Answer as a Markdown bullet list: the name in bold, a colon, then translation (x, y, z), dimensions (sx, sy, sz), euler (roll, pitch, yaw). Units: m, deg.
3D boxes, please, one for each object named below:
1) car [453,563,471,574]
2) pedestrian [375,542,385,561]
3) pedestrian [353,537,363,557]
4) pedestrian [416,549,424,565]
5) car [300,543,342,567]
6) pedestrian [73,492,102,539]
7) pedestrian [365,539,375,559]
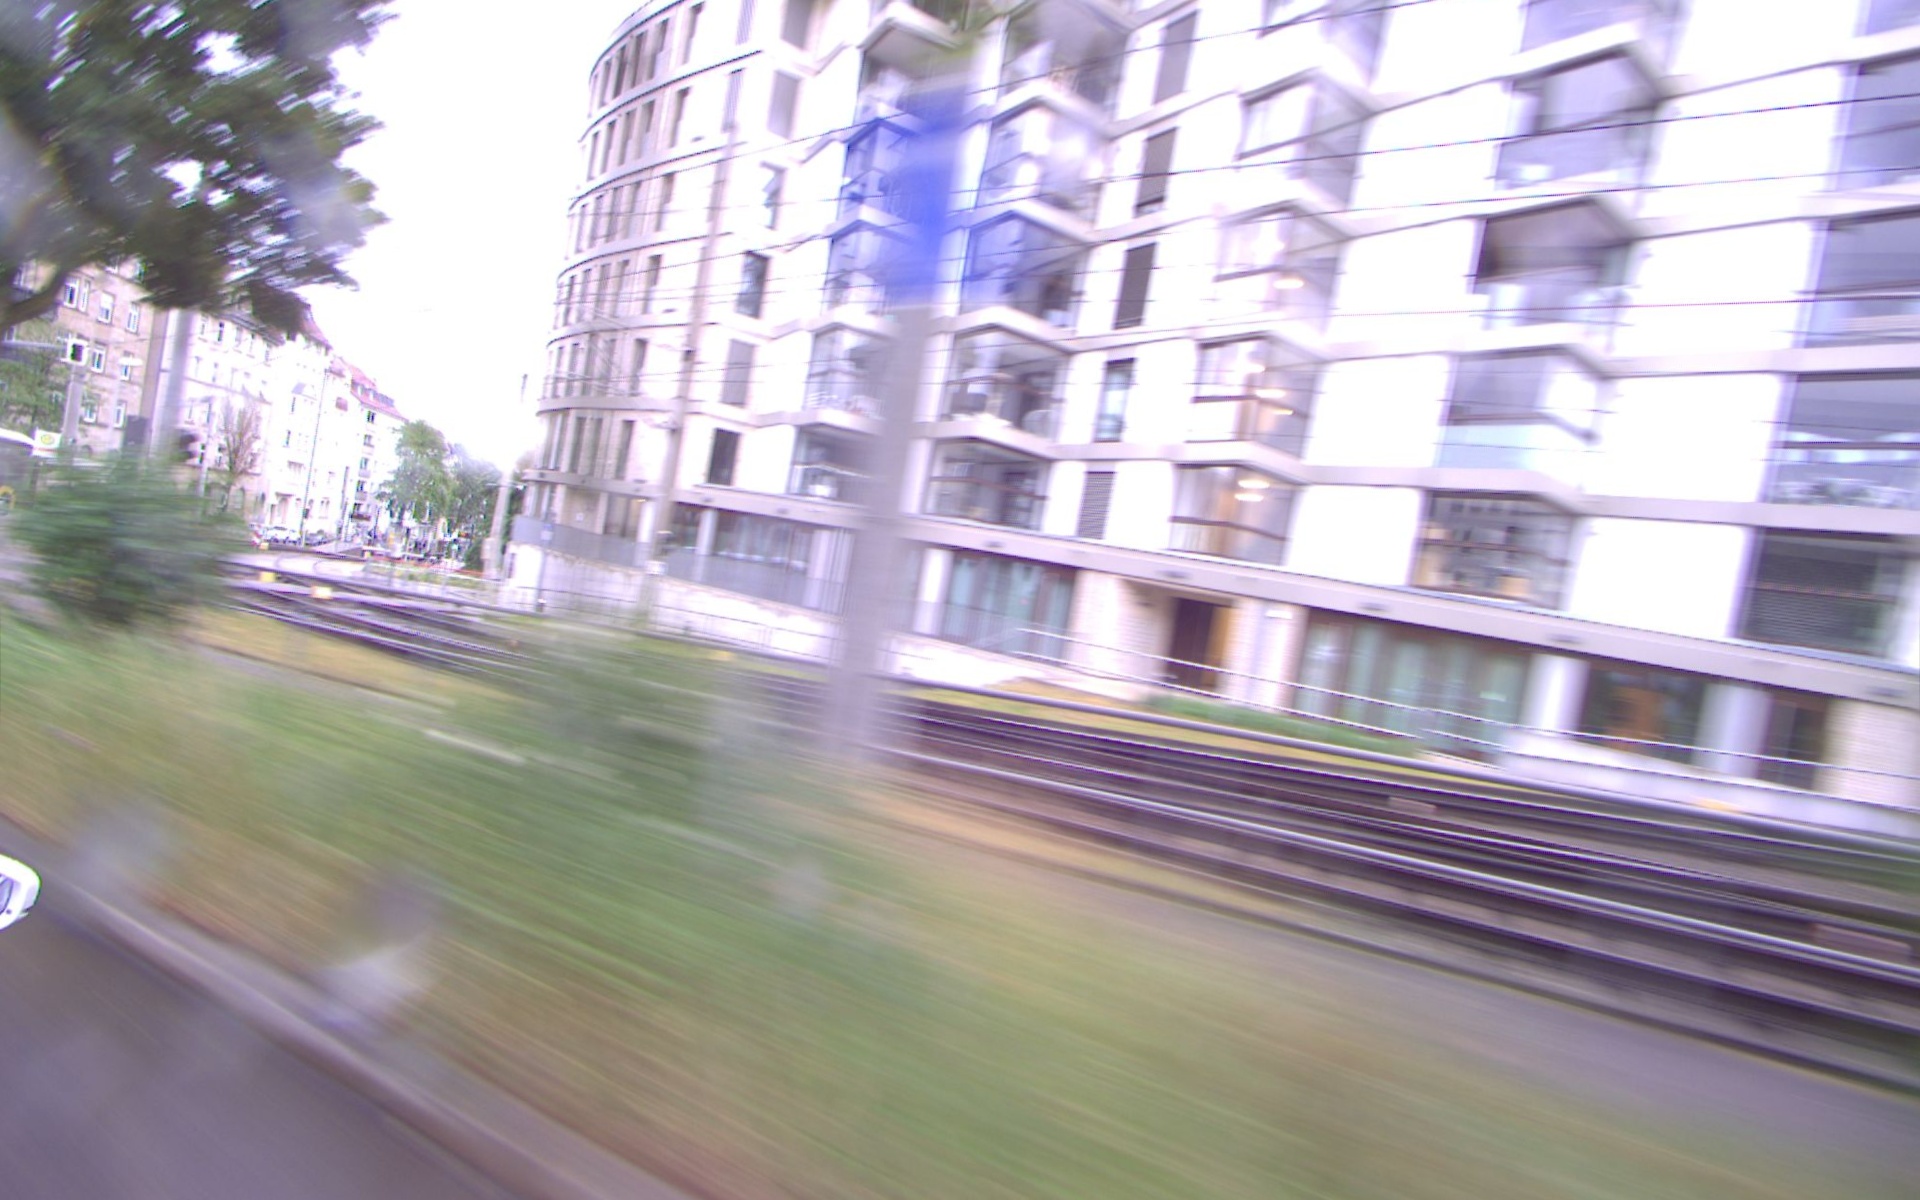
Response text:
- **car**: translation (-83.280, -5.274, 168.360), dimensions (1.705, 1.533, 4.483), euler (8, -1, -15)
- **pedestrian**: translation (-59.535, -5.018, 103.225), dimensions (0.510, 1.859, 0.760), euler (7, -1, -16)
- **pedestrian**: translation (-56.978, -5.008, 95.229), dimensions (0.554, 1.872, 0.597), euler (7, -1, -16)
- **pedestrian**: translation (-62.098, -4.902, 115.724), dimensions (0.543, 1.762, 0.612), euler (7, -1, -16)
- **car**: translation (-64.455, -4.513, 101.552), dimensions (1.968, 1.751, 4.805), euler (7, -3, -13)
- **pedestrian**: translation (-35.114, -3.402, 40.487), dimensions (0.571, 1.772, 0.540), euler (8, -1, -27)
- **pedestrian**: translation (-58.525, -5.036, 99.842), dimensions (0.510, 1.859, 0.760), euler (7, -1, -16)
